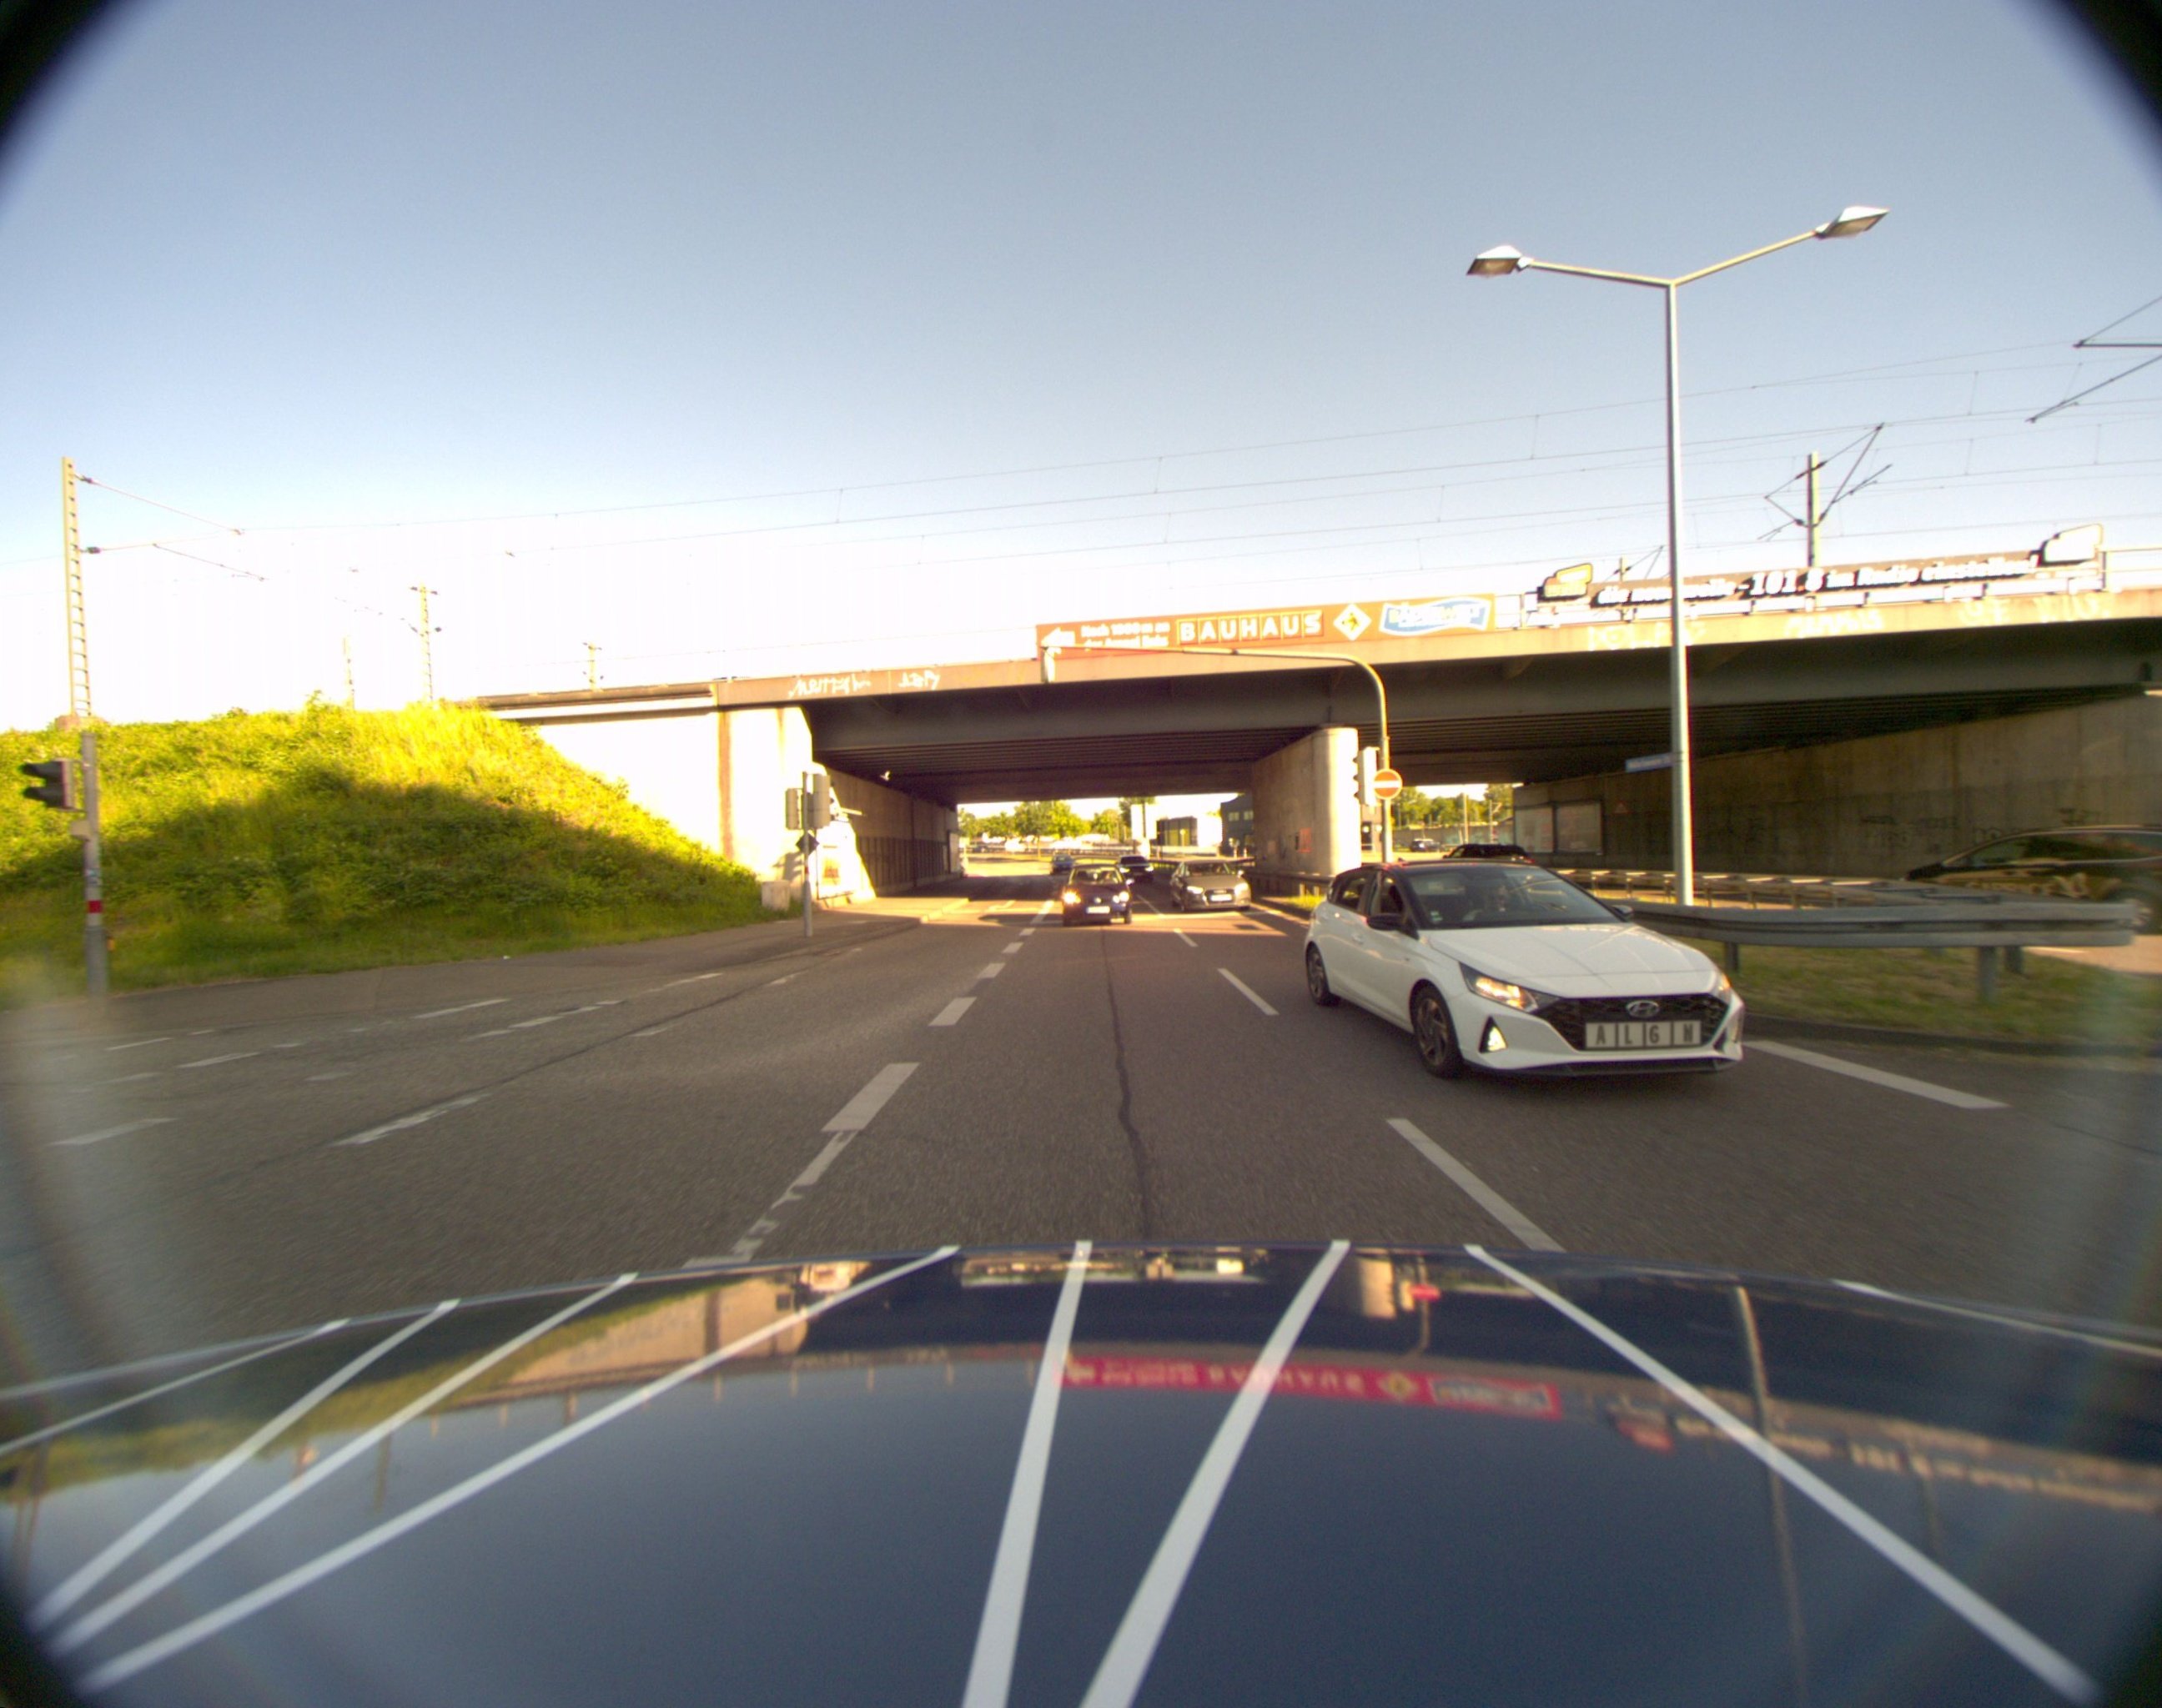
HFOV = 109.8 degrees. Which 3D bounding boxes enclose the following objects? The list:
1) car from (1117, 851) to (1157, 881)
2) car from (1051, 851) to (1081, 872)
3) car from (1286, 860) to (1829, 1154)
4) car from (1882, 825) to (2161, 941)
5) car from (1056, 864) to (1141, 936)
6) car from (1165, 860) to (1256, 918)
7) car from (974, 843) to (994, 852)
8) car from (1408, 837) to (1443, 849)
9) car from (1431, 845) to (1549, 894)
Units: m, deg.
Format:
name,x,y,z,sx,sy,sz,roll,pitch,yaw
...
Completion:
name,x,y,z,sx,sy,sz,roll,pitch,yaw
car,3.006,0.638,41.725,1.848,1.515,3.982,-2,0,0
car,-1.180,0.572,57.396,1.849,1.474,3.980,-2,0,-6
car,3.108,0.840,6.083,1.737,1.471,3.991,-4,0,-1
car,17.081,0.418,13.075,1.829,1.727,4.629,0,1,3
car,0.375,1.005,18.295,1.737,1.412,4.318,-2,0,0
car,3.532,0.903,21.396,1.848,1.412,3.982,-2,0,0
car,-17.705,-1.246,138.979,1.627,1.511,3.815,-2,1,-42
car,38.003,-1.192,83.768,4.191,1.274,1.825,0,1,-40
car,14.566,0.487,27.396,1.829,1.616,4.529,0,1,1
